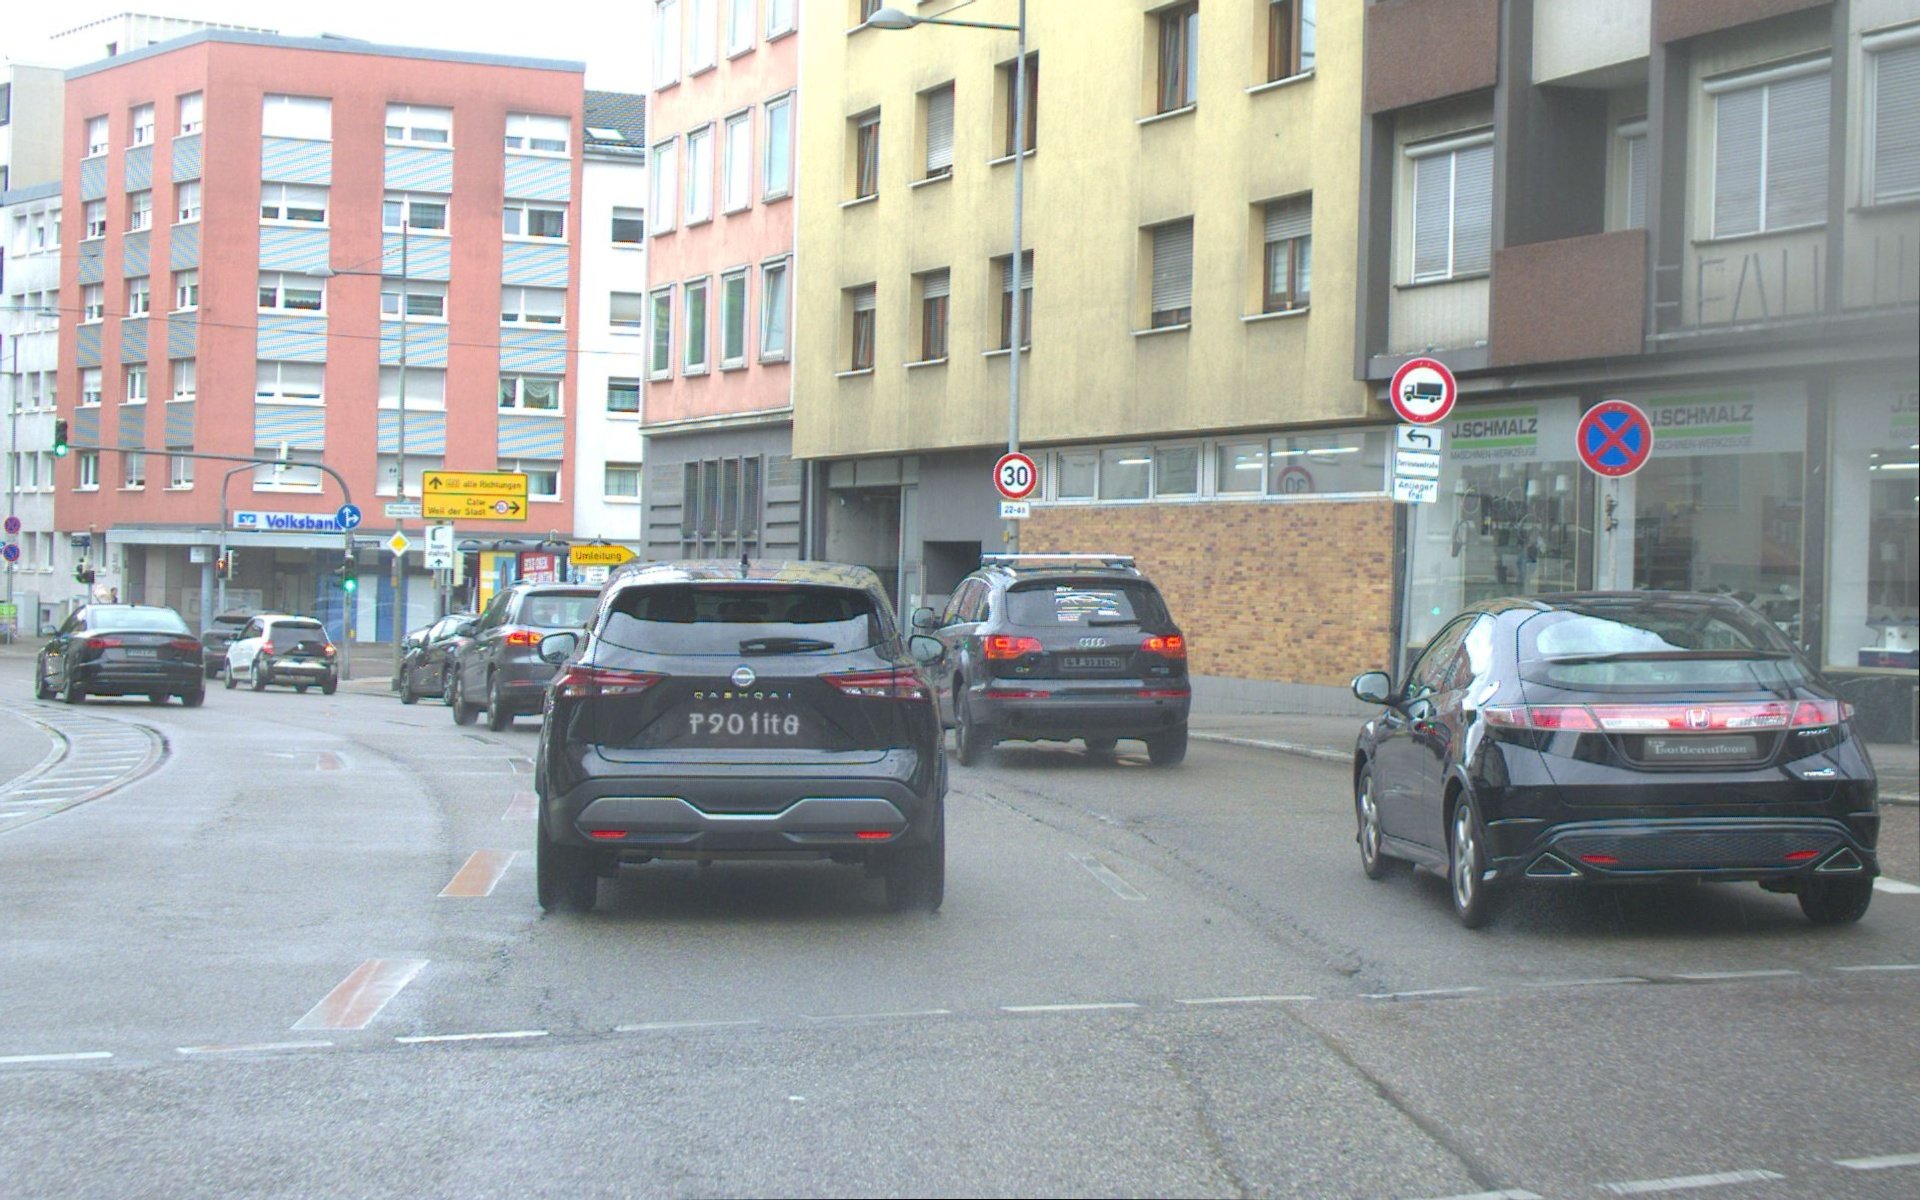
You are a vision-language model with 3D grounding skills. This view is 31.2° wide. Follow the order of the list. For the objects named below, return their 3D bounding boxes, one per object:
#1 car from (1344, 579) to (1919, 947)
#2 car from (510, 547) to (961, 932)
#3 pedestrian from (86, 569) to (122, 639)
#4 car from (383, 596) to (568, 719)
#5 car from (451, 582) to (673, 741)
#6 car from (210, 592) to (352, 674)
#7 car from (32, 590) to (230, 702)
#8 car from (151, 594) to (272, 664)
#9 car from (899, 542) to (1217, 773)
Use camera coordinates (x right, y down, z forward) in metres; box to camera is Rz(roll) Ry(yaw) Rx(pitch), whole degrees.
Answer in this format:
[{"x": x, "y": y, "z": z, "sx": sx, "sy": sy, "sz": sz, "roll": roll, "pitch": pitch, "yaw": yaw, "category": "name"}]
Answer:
[{"x": 2.962, "y": 0.651, "z": 15.984, "sx": 1.783, "sy": 1.491, "sz": 4.057, "roll": 0, "pitch": 0, "yaw": -2, "category": "car"}, {"x": -1.142, "y": 0.585, "z": 16.567, "sx": 1.894, "sy": 1.623, "sz": 4.001, "roll": 0, "pitch": 0, "yaw": -6, "category": "car"}, {"x": -26.844, "y": 0.128, "z": 107.810, "sx": 0.825, "sy": 2.151, "sz": 0.770, "roll": 3, "pitch": -1, "yaw": -25, "category": "pedestrian"}, {"x": -7.605, "y": 0.856, "z": 53.706, "sx": 1.945, "sy": 1.810, "sz": 4.001, "roll": -1, "pitch": 0, "yaw": -22, "category": "car"}, {"x": -4.552, "y": 0.647, "z": 38.824, "sx": 1.945, "sy": 1.679, "sz": 4.001, "roll": -1, "pitch": 0, "yaw": -14, "category": "car"}, {"x": -13.814, "y": 0.653, "z": 69.761, "sx": 1.993, "sy": 1.481, "sz": 4.001, "roll": 3, "pitch": -1, "yaw": -23, "category": "car"}, {"x": -11.835, "y": 0.623, "z": 48.881, "sx": 1.993, "sy": 1.383, "sz": 4.501, "roll": 3, "pitch": -1, "yaw": -22, "category": "car"}, {"x": -17.792, "y": 0.686, "z": 81.841, "sx": 1.993, "sy": 1.514, "sz": 4.000, "roll": 3, "pitch": -1, "yaw": -1, "category": "car"}, {"x": 0.767, "y": 0.460, "z": 30.571, "sx": 2.021, "sy": 1.863, "sz": 4.900, "roll": -1, "pitch": 0, "yaw": -8, "category": "car"}]
